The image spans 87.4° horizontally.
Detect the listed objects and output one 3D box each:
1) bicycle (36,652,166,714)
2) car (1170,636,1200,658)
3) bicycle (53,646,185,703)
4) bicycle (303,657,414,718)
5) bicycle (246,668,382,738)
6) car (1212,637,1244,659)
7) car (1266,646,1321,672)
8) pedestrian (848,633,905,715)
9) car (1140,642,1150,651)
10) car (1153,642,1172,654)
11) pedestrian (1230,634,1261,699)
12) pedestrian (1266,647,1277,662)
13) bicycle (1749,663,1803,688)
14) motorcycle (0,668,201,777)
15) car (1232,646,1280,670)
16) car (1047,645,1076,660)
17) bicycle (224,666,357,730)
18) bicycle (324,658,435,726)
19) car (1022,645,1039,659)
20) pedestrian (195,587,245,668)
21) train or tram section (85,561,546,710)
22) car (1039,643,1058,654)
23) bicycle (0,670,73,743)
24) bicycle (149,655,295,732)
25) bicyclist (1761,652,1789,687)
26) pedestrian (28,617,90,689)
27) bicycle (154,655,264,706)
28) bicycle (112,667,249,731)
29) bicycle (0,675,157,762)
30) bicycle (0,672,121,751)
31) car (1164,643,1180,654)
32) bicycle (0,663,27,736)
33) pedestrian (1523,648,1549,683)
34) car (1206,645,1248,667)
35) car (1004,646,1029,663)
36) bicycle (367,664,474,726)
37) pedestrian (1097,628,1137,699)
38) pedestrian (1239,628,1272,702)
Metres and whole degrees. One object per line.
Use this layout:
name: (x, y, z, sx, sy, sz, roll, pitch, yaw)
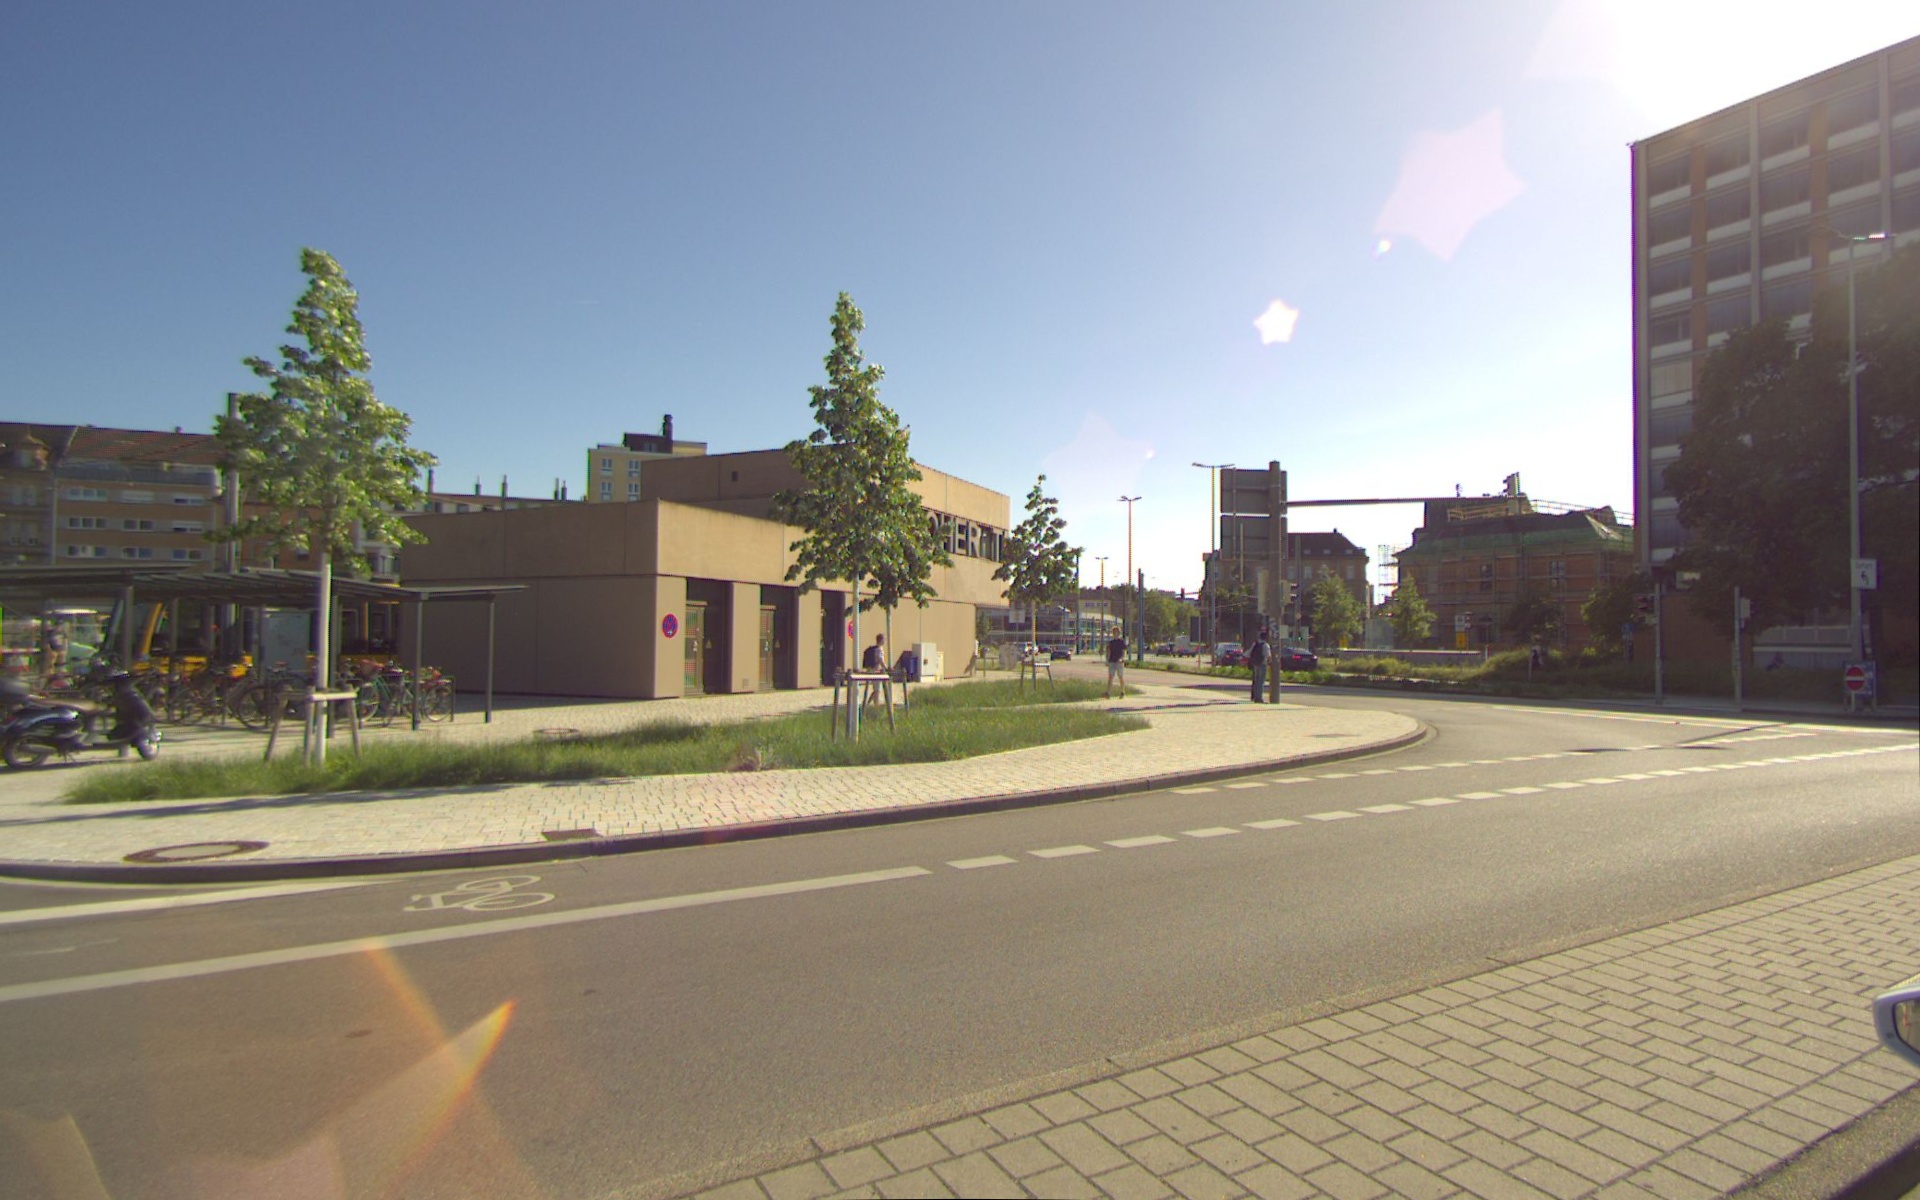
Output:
bicycle: (-16.919, 1.609, 19.829, 0.617, 1.146, 1.828, 0, -2, 27)
car: (27.444, 5.736, 122.870, 2.952, 2.580, 6.963, 0, -2, 7)
bicycle: (-16.000, 1.390, 19.166, 0.617, 1.021, 1.828, 0, -2, 27)
bicycle: (-11.754, 1.687, 19.689, 0.617, 1.107, 1.829, 0, -2, 25)
bicycle: (-10.680, 1.678, 16.683, 0.617, 1.021, 1.828, 0, -2, 27)
car: (26.231, 4.662, 98.514, 2.031, 2.040, 5.018, 0, -2, 3)
car: (20.803, 3.658, 62.732, 1.962, 1.538, 3.818, 1, -2, -4)
pedestrian: (-1.819, 1.592, 21.894, 1.011, 1.727, 0.834, 1, -2, -25)
car: (37.693, 9.421, 204.449, 1.959, 1.695, 4.003, 0, -2, 10)
car: (27.009, 6.396, 133.959, 2.059, 1.602, 4.862, 0, -2, 6)
pedestrian: (7.650, 1.784, 26.951, 0.594, 1.719, 0.634, 1, -2, -7)
pedestrian: (41.375, 7.218, 133.407, 1.249, 2.040, 1.093, 0, -2, 13)
bicycle: (34.071, 3.144, 41.980, 0.612, 0.971, 1.870, 1, -2, -5)
motorcycle: (-10.928, 1.478, 12.475, 0.599, 1.173, 2.360, 0, -2, 25)
car: (20.278, 3.941, 68.996, 1.962, 1.538, 3.818, 1, -2, -4)
car: (9.534, 4.940, 94.597, 1.962, 1.407, 3.998, 0, -3, -5)
bicycle: (-11.623, 1.679, 17.500, 0.492, 1.010, 1.887, 0, -2, 31)
bicycle: (-10.750, 1.675, 18.683, 0.616, 1.161, 1.831, 0, -2, 18)
car: (8.695, 6.377, 123.643, 1.865, 1.728, 4.003, 0, -2, 6)
pedestrian: (-17.530, 0.664, 23.808, 0.738, 1.880, 0.709, 1, -2, -19)
train or tram section: (-18.649, 1.098, 30.870, 2.702, 3.648, 12.318, 0, -2, 25)
car: (13.528, 7.415, 153.285, 1.960, 1.603, 4.002, 0, -2, 17)
bicycle: (-14.112, 1.548, 14.513, 0.617, 1.021, 1.829, 0, -2, 25)
bicycle: (-12.896, 1.598, 17.629, 0.496, 1.225, 2.051, 0, -2, 26)
bicyclist: (34.085, 2.905, 41.993, 0.637, 1.431, 0.638, 1, -2, -5)
pedestrian: (-26.270, 1.537, 29.288, 0.854, 2.040, 1.012, 0, -2, 19)
bicycle: (-16.265, 1.732, 21.804, 0.617, 1.021, 1.829, 0, -2, 25)
bicycle: (-13.873, 1.741, 17.938, 0.617, 1.021, 1.828, 0, -2, 27)
bicycle: (-12.046, 1.558, 13.521, 0.617, 1.021, 1.829, 0, -2, 25)
bicycle: (-13.129, 1.556, 14.072, 0.617, 1.021, 2.026, 0, -2, 25)
car: (30.466, 6.943, 144.492, 2.024, 1.458, 4.061, 0, -2, 10)
bicycle: (-15.280, 1.515, 15.012, 0.617, 1.094, 1.829, 0, -2, 25)
pedestrian: (33.906, 3.874, 59.145, 0.996, 2.040, 0.825, 1, -2, -6)
car: (20.049, 4.210, 75.502, 1.962, 1.538, 3.818, 1, -2, -4)
car: (6.270, 6.066, 111.876, 1.963, 1.814, 3.995, 1, -2, -8)
bicycle: (-9.830, 1.709, 18.384, 0.616, 1.021, 1.832, 0, -2, 16)
pedestrian: (4.167, 1.680, 26.709, 0.826, 1.869, 0.866, 1, -2, -7)
pedestrian: (7.546, 1.656, 25.703, 0.594, 1.880, 0.681, 1, -2, -7)
